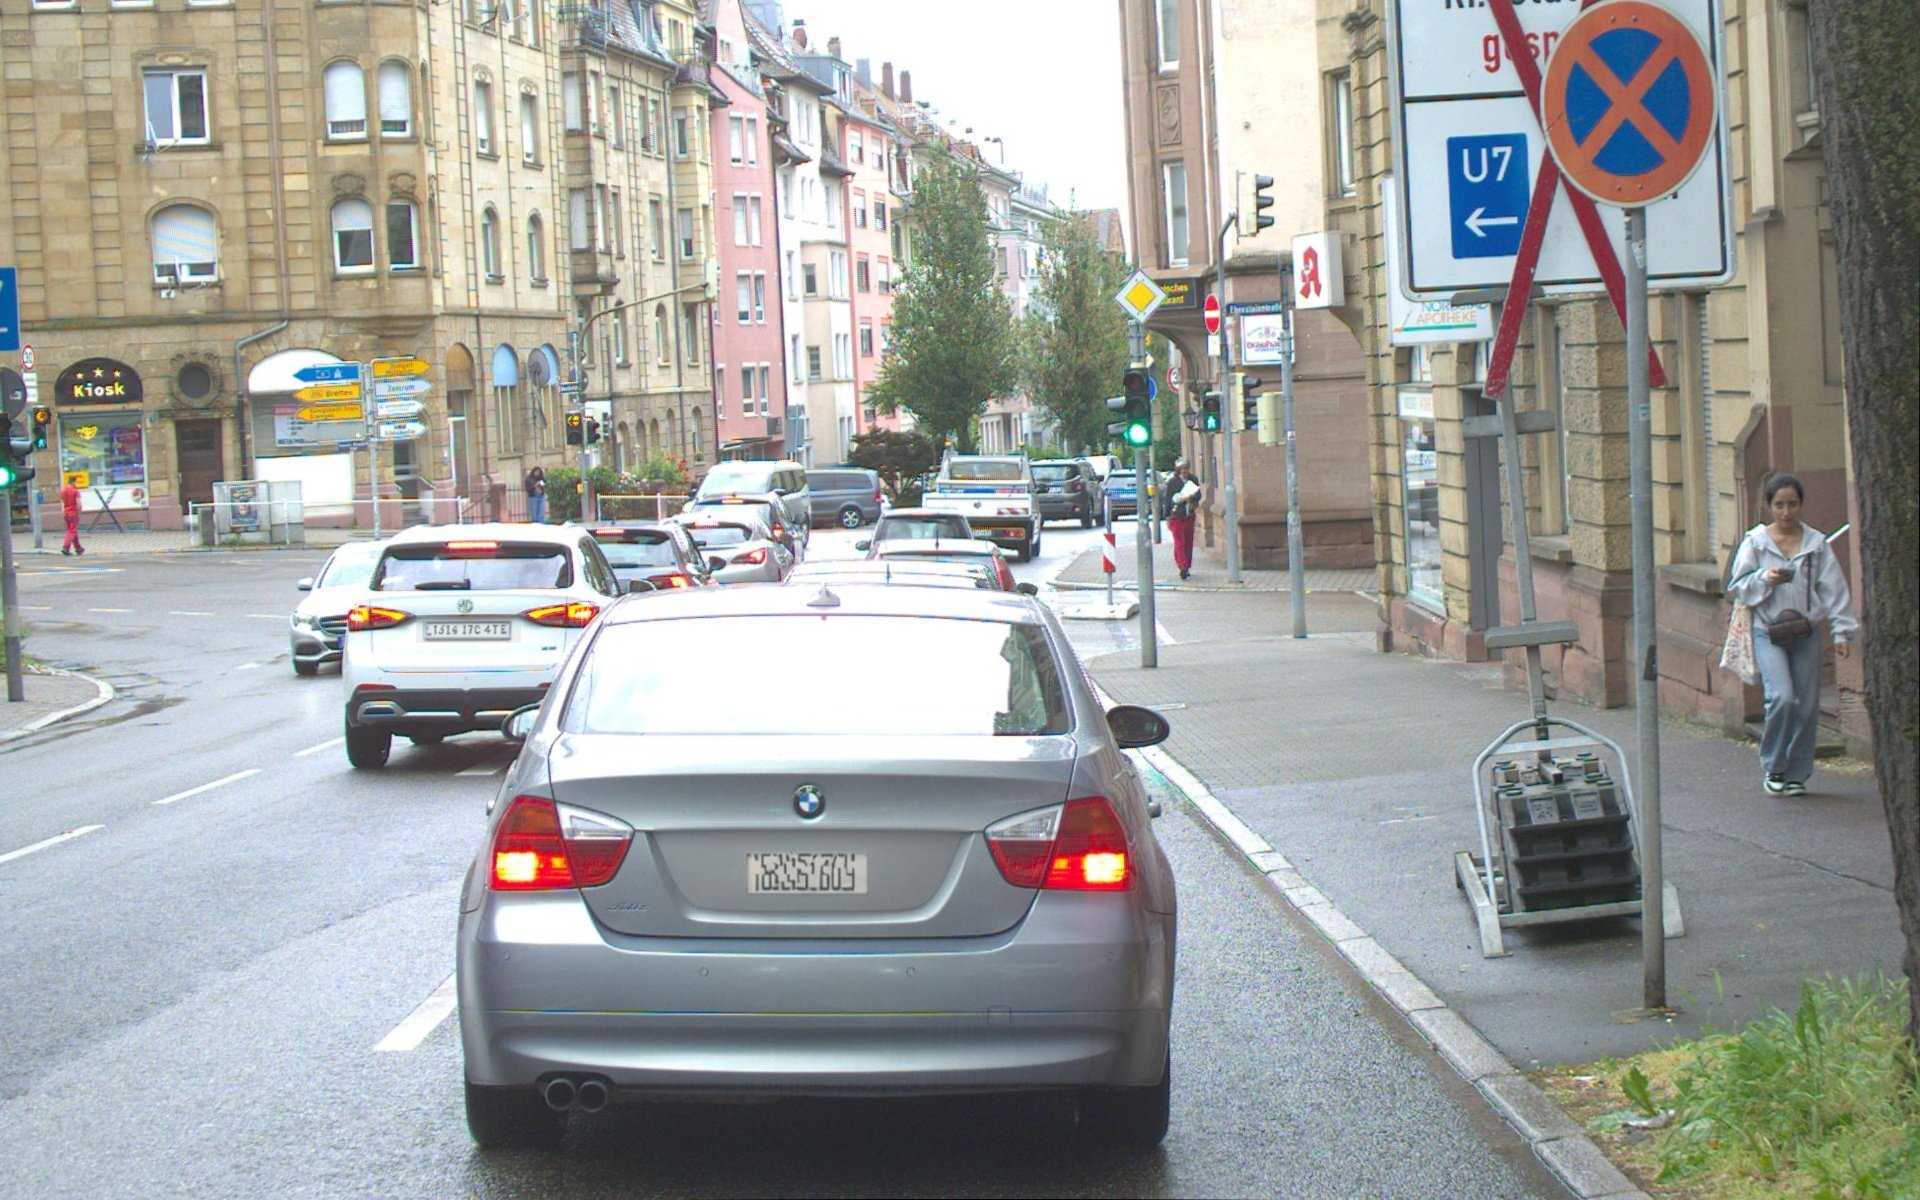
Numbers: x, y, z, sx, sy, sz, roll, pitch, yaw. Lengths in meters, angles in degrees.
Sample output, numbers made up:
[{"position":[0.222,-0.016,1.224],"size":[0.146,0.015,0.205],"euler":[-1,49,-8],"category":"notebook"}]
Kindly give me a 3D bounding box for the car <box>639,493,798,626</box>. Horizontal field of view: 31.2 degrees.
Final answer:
[{"position":[-3.190,-0.568,46.093],"size":[1.759,1.702,4.000],"euler":[0,1,1],"category":"car"}]

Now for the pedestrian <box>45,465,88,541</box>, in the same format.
[{"position":[-18.854,-2.048,72.573],"size":[0.537,1.572,0.719],"euler":[-2,1,16],"category":"pedestrian"}]

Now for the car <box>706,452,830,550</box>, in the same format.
[{"position":[-3.947,-2.042,71.188],"size":[1.762,1.919,4.322],"euler":[-1,1,7],"category":"car"}]

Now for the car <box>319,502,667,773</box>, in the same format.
[{"position":[-3.188,0.187,24.204],"size":[1.868,1.620,4.001],"euler":[-2,2,0],"category":"car"}]

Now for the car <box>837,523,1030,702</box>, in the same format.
[{"position":[-0.182,0.061,30.838],"size":[1.595,1.459,4.000],"euler":[-1,1,1],"category":"car"}]

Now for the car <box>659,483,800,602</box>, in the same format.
[{"position":[-3.410,-0.871,51.469],"size":[1.759,1.702,4.000],"euler":[0,1,1],"category":"car"}]

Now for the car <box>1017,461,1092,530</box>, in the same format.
[{"position":[2.288,-2.494,82.910],"size":[1.725,1.547,4.000],"euler":[1,0,2],"category":"car"}]

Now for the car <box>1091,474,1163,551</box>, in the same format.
[{"position":[4.590,-2.373,94.110],"size":[1.725,2.007,3.999],"euler":[1,0,6],"category":"car"}]

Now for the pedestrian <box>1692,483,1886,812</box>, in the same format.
[{"position":[3.989,0.219,16.585],"size":[0.631,1.503,0.693],"euler":[-5,1,-1],"category":"pedestrian"}]

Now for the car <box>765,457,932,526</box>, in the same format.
[{"position":[-3.504,-3.430,109.256],"size":[5.176,2.007,2.699],"euler":[1,0,0],"category":"car"}]

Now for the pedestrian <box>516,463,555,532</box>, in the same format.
[{"position":[-9.880,-2.382,80.022],"size":[0.732,1.572,0.528],"euler":[-1,1,9],"category":"pedestrian"}]

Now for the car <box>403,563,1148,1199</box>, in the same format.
[{"position":[-0.372,0.616,9.333],"size":[1.623,1.378,3.615],"euler":[0,1,1],"category":"car"}]

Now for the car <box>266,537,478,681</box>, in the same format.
[{"position":[-7.042,0.062,41.582],"size":[1.737,1.521,4.472],"euler":[-4,1,-1],"category":"car"}]

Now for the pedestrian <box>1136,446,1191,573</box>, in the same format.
[{"position":[3.107,-1.381,52.464],"size":[0.742,1.903,0.659],"euler":[-2,1,-1],"category":"pedestrian"}]

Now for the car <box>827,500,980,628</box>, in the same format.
[{"position":[-0.686,-0.498,44.387],"size":[1.759,1.562,4.000],"euler":[-1,2,2],"category":"car"}]

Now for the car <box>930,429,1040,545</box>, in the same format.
[{"position":[0.449,-2.070,64.085],"size":[1.993,2.099,4.000],"euler":[0,1,0],"category":"car"}]

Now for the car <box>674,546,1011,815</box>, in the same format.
[{"position":[-0.589,0.395,20.144],"size":[1.759,1.378,4.000],"euler":[0,1,1],"category":"car"}]

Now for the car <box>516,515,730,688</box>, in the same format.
[{"position":[-3.471,-0.028,36.023],"size":[1.759,1.702,4.000],"euler":[0,1,1],"category":"car"}]
